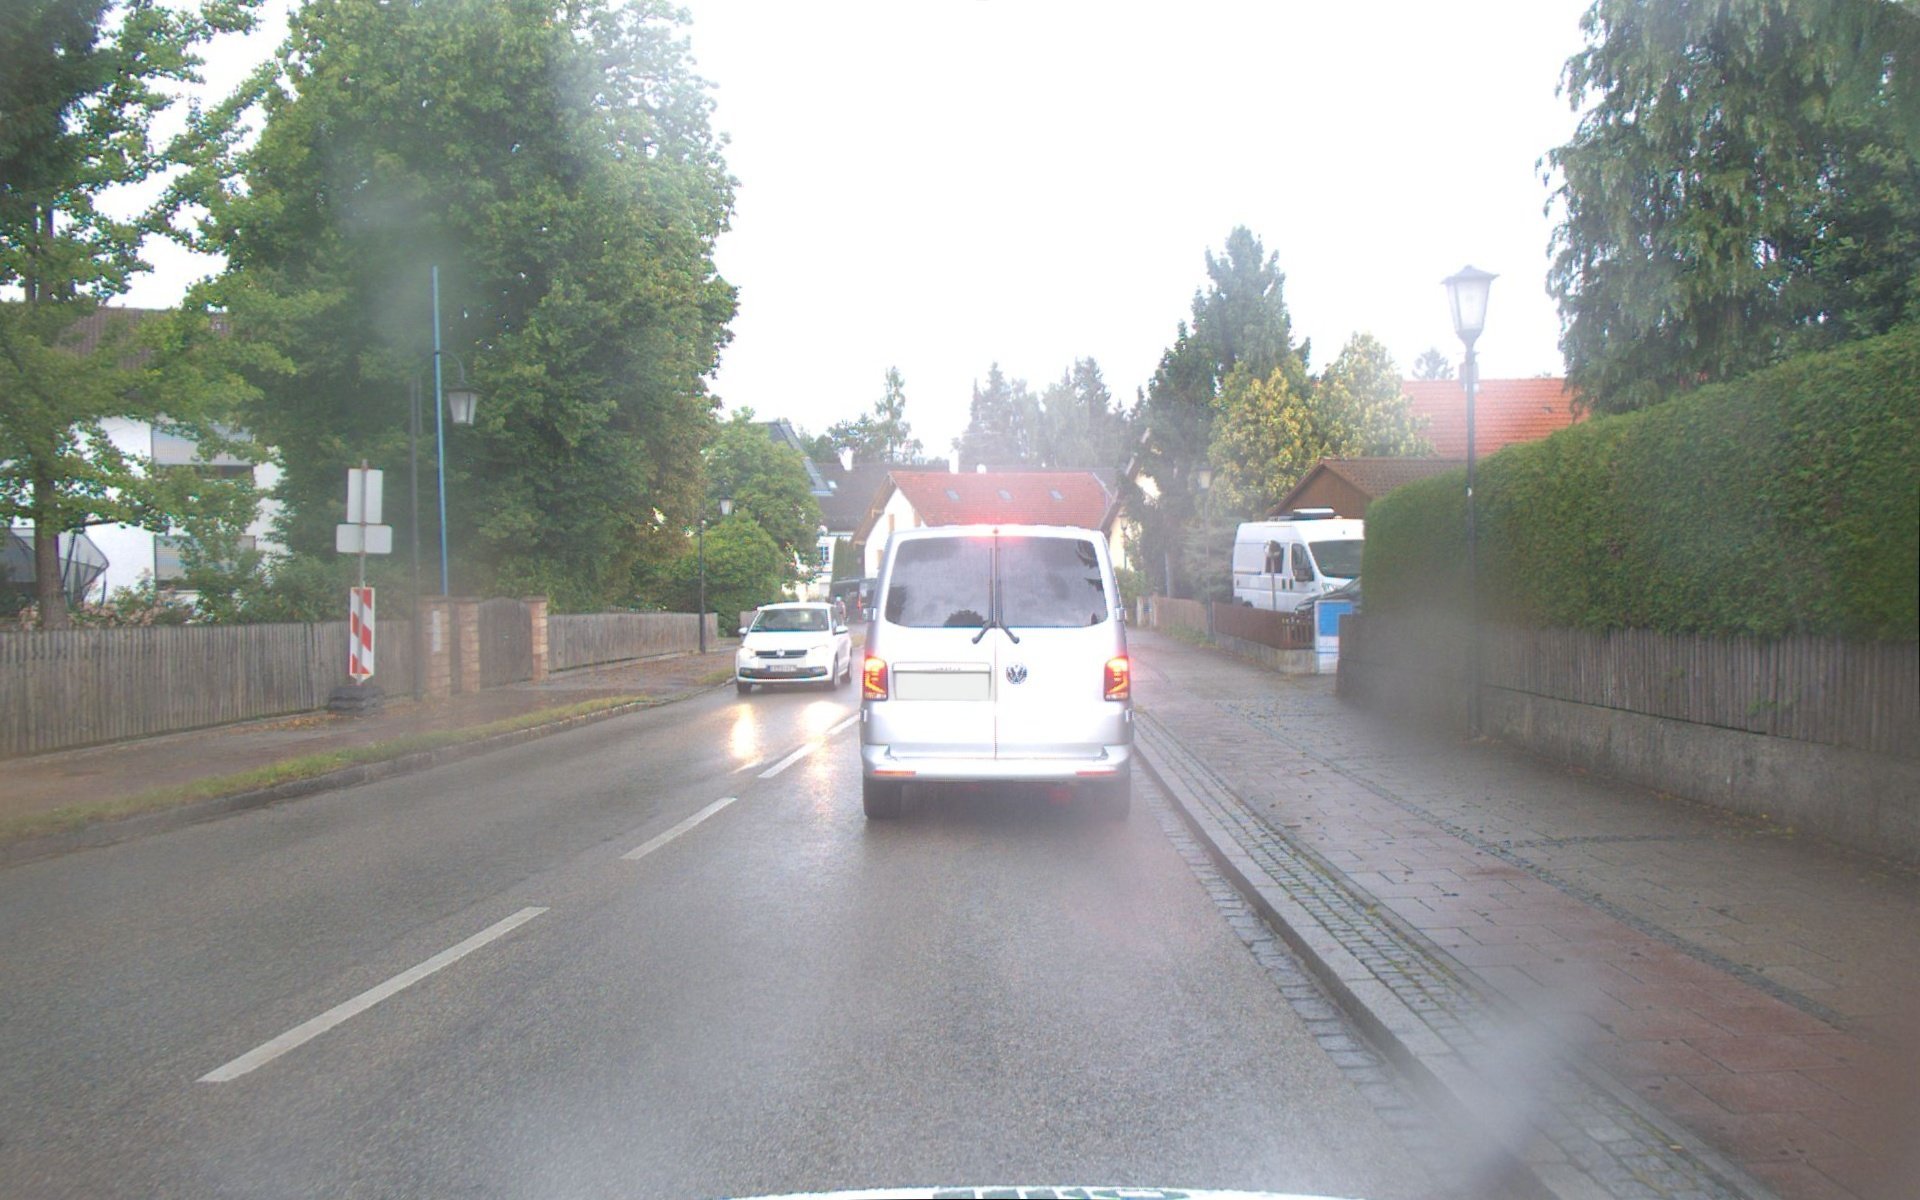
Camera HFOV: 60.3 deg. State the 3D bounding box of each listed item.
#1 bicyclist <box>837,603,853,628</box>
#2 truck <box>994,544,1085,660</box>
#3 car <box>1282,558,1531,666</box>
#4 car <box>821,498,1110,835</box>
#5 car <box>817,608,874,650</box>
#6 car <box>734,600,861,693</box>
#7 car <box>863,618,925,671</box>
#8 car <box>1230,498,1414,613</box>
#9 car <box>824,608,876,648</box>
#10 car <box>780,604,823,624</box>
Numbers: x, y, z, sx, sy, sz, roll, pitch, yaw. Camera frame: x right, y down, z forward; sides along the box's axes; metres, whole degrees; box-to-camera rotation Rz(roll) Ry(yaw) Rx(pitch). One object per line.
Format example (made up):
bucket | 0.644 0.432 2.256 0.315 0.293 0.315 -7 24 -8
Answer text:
bicyclist | -4.703 0.630 67.727 0.575 1.039 1.060 0 0 1
truck | 2.224 0.095 47.999 2.424 3.128 6.296 1 -1 1
car | 7.997 0.191 29.806 4.011 1.782 1.694 -1 2 -2
car | 0.170 0.430 12.202 1.763 2.049 4.002 1 -1 4
car | -4.087 1.029 59.579 1.584 1.470 3.672 0 -1 3
car | -2.701 0.764 28.181 1.584 1.470 3.672 0 -1 3
car | -1.912 1.291 48.787 1.681 1.467 3.999 1 -1 0
car | 7.513 -0.848 34.905 1.958 2.212 4.938 1 -1 -12
car | -4.248 1.078 64.217 1.584 1.470 3.672 0 -1 3
car | -10.963 0.932 114.253 1.758 1.333 3.744 1 -1 -26
